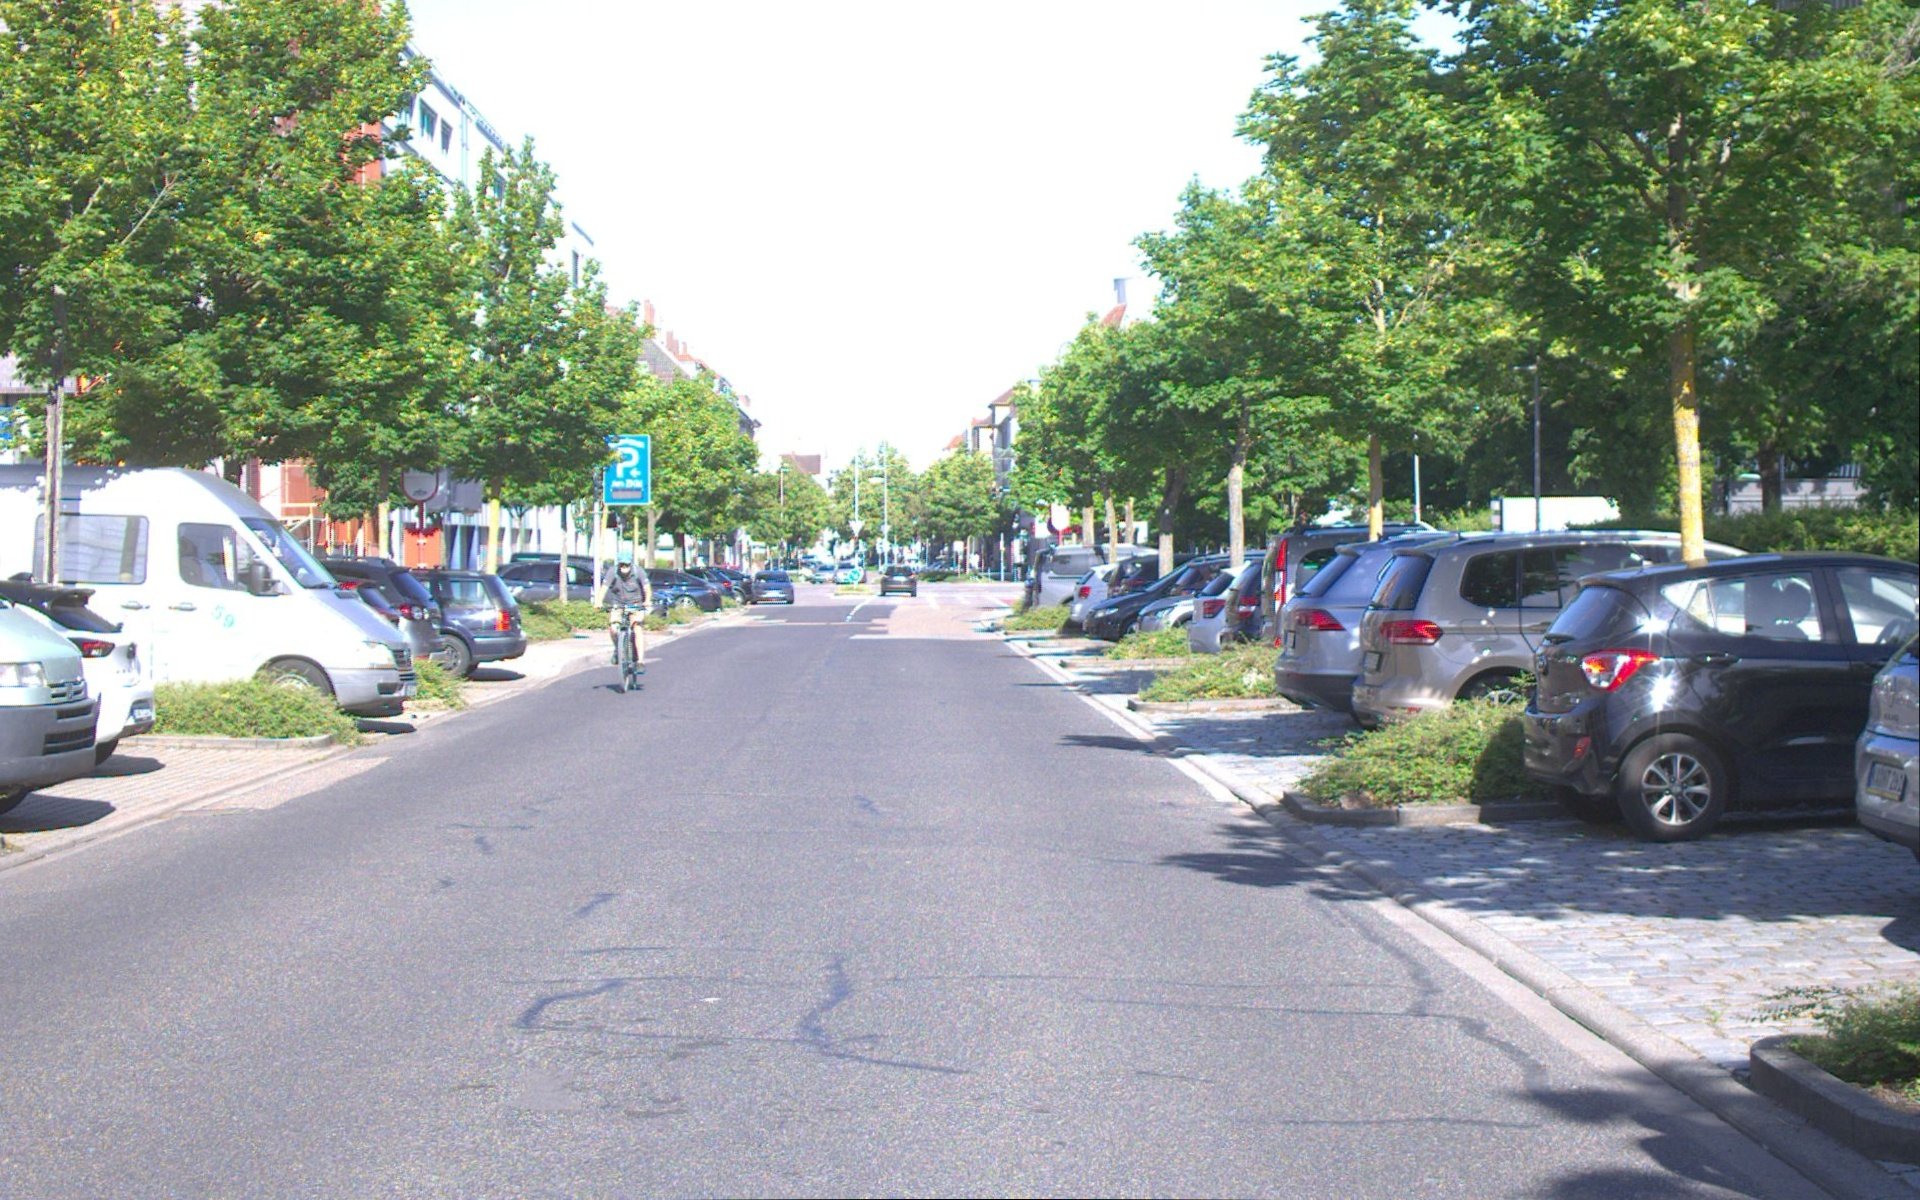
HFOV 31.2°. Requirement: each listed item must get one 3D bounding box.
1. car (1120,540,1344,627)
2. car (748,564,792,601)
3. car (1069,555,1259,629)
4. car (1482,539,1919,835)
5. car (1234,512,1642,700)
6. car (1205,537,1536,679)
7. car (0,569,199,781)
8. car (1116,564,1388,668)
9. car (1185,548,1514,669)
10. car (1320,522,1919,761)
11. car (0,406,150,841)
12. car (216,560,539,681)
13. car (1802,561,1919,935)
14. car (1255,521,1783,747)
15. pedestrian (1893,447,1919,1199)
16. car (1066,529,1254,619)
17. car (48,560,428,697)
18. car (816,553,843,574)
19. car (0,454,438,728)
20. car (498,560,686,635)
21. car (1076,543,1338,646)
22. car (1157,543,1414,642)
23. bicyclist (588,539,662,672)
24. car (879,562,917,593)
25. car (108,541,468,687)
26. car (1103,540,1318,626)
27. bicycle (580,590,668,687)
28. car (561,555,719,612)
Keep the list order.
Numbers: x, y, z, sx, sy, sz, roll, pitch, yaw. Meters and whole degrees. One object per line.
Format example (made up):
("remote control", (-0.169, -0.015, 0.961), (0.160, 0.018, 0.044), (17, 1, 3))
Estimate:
("car", (5.016, -0.302, 63.769), (3.987, 1.533, 1.861), (-1, 0, 0))
("car", (-8.198, -0.756, 148.584), (1.811, 1.469, 4.111), (-1, 2, -2))
("car", (4.196, -0.172, 71.159), (3.765, 1.454, 1.818), (-1, 0, -1))
("car", (4.772, 0.431, 18.858), (3.452, 1.484, 1.747), (-2, 0, -3))
("car", (5.185, 0.040, 37.651), (4.118, 1.921, 1.979), (-1, 2, -3))
("car", (4.774, 0.077, 40.267), (3.605, 1.544, 1.707), (-1, 2, -3))
("car", (-7.806, 0.502, 25.575), (3.830, 1.467, 1.848), (1, 1, 1))
("car", (4.377, 0.223, 51.908), (3.900, 1.481, 1.743), (-1, 1, -1))
("car", (5.042, 0.105, 44.867), (4.062, 1.421, 1.742), (-2, 0, 1))
("car", (4.985, 0.273, 25.401), (4.319, 1.602, 1.912), (-1, 1, -4))
("car", (-7.658, 0.046, 20.181), (5.248, 2.410, 2.123), (2, 1, 0))
("car", (-7.859, 0.269, 46.664), (4.129, 1.487, 1.869), (1, 2, -4))
("car", (5.537, 0.525, 14.045), (3.732, 1.411, 1.842), (-1, 1, 1))
("car", (4.468, 0.243, 27.900), (3.899, 1.689, 1.941), (-1, 2, -3))
("pedestrian", (2.366, 0.560, 6.630), (0.719, 1.765, 1.168), (-2, 0, -2))
("car", (4.363, -0.577, 75.265), (3.987, 1.873, 1.683), (-1, 2, 0))
("car", (-8.305, 0.311, 39.781), (3.987, 1.512, 1.855), (-1, 1, 0))
("car", (-9.745, -2.731, 257.178), (1.812, 1.469, 4.111), (-1, 2, 0))
("car", (-7.827, -0.118, 32.099), (5.551, 2.401, 1.988), (1, 1, 1))
("car", (-8.665, -0.074, 81.150), (4.261, 1.660, 1.599), (-1, 2, -1))
("car", (4.061, -0.105, 56.917), (4.144, 1.574, 1.741), (-1, 1, -2))
("car", (5.153, -0.132, 54.745), (3.861, 1.499, 1.652), (-1, 1, -3))
("bicyclist", (-4.062, 0.063, 41.706), (0.683, 1.575, 1.061), (-2, 1, 4))
("car", (-3.154, -1.160, 175.285), (1.812, 1.469, 4.111), (-1, 2, 0))
("car", (-8.195, 0.155, 42.124), (3.987, 1.658, 1.828), (1, 1, 2))
("car", (4.813, -0.329, 66.503), (3.987, 1.576, 2.031), (-1, 0, 0))
("bicycle", (-4.054, 0.449, 41.657), (0.698, 1.107, 2.079), (-2, 1, 4))
("car", (-8.902, -0.471, 95.955), (4.330, 1.469, 1.818), (-1, 2, -4))
